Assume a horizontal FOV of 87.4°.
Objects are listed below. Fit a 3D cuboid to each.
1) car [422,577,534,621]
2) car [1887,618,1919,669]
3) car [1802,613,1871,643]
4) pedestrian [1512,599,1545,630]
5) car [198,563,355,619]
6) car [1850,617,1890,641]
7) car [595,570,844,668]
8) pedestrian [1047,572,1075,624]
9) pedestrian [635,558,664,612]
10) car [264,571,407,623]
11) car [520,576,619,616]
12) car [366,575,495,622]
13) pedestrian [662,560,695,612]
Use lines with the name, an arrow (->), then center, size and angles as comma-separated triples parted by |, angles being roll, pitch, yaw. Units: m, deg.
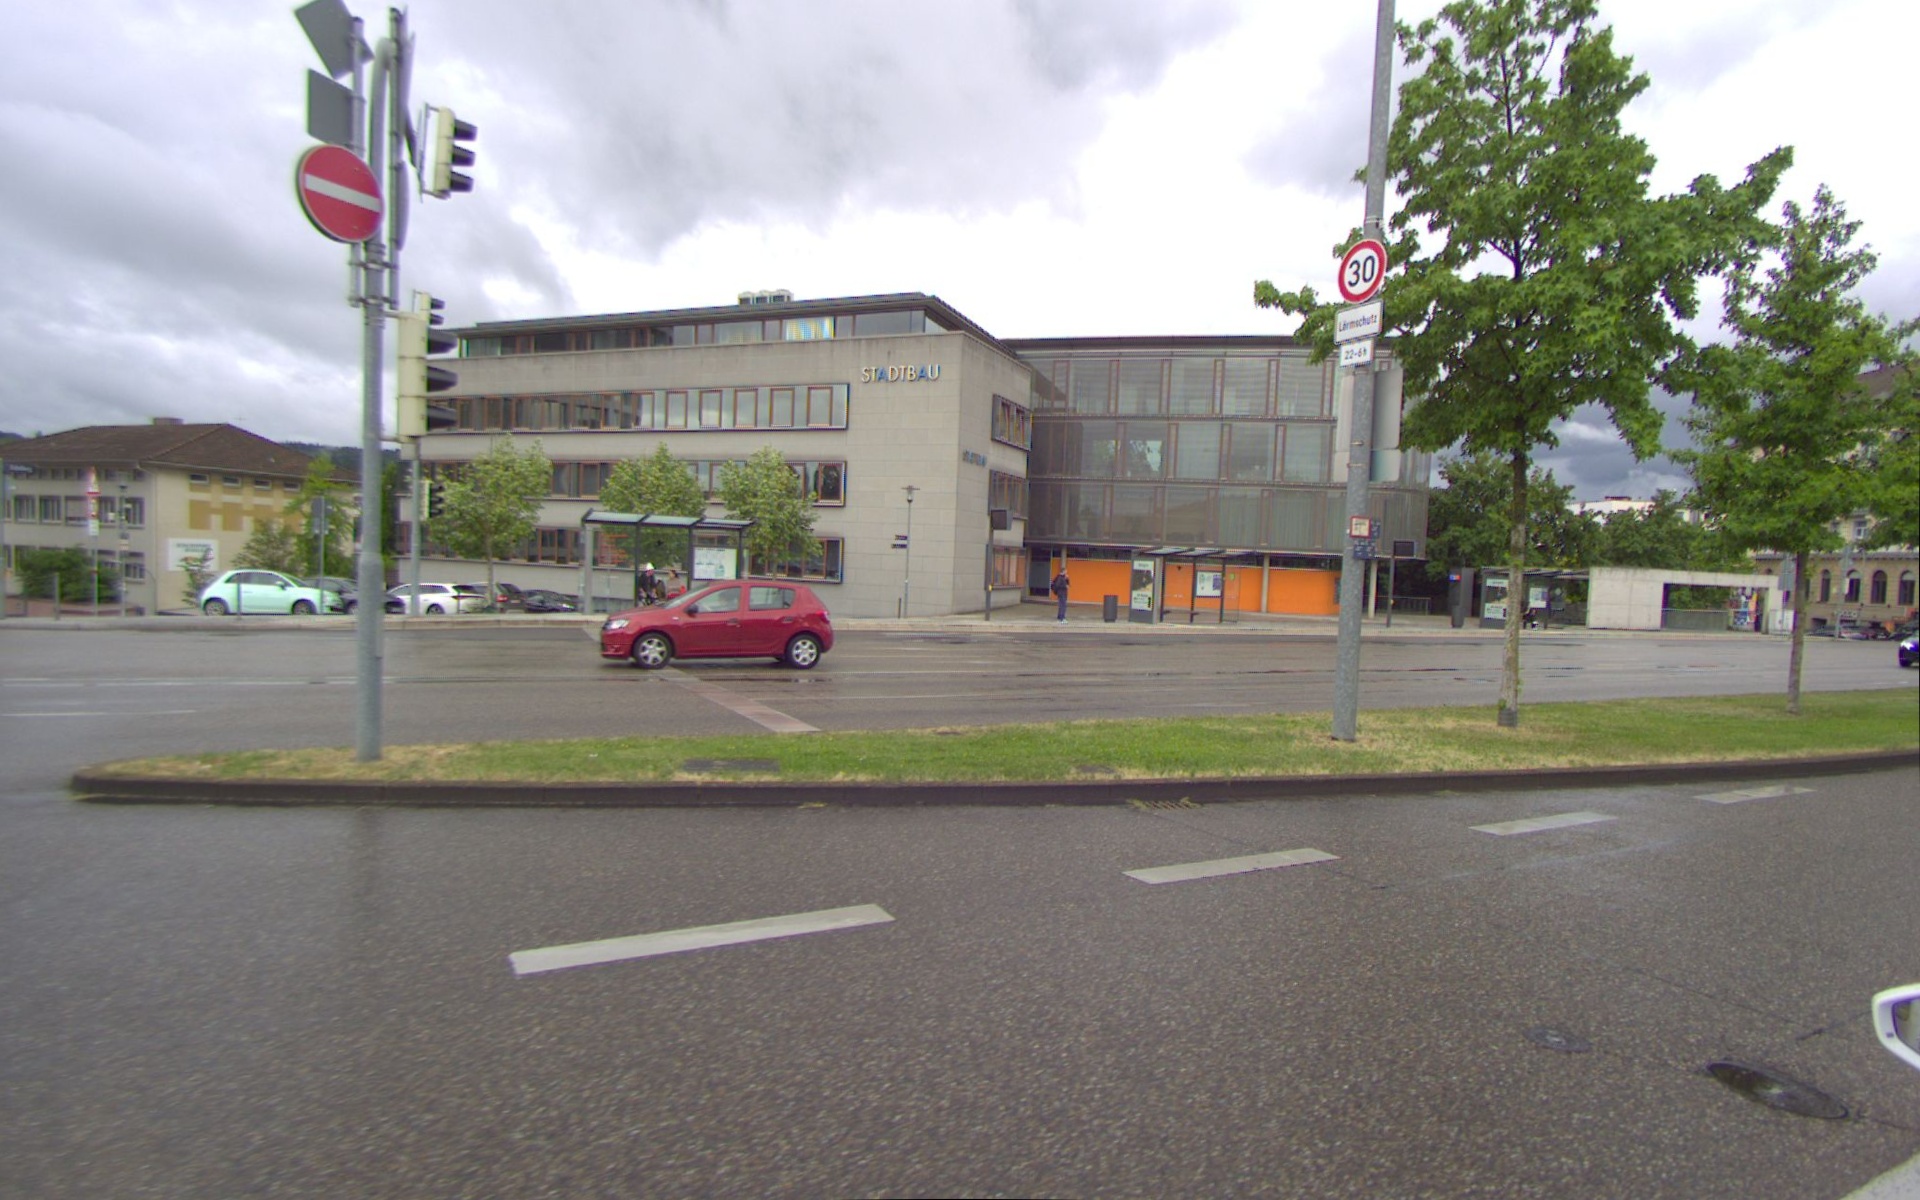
car -> -18.336, -0.054, 38.281 | 3.509, 1.515, 1.634 | 2, 1, 10
car -> 31.434, 1.410, 31.900 | 4.586, 1.548, 1.671 | 2, 1, -31
car -> 62.014, 1.971, 71.153 | 1.834, 1.706, 4.001 | 7, 3, 13
pedestrian -> 26.028, 0.655, 45.996 | 0.834, 1.285, 0.977 | 2, 5, -8
car -> -20.585, -0.276, 30.383 | 3.521, 1.515, 1.628 | 2, 1, -14
car -> 65.933, 2.082, 72.819 | 1.635, 1.626, 3.244 | -1, 0, 32
car -> -4.251, 0.340, 17.751 | 3.977, 1.573, 1.817 | 2, 1, -25
pedestrian -> 3.402, -0.073, 33.830 | 0.752, 1.706, 0.473 | 1, 1, -22
pedestrian -> -8.682, -0.427, 28.070 | 0.619, 1.488, 0.675 | 2, 1, -30
car -> -20.040, -0.089, 32.357 | 3.521, 1.515, 1.628 | 2, 1, -14
car -> -16.053, -0.170, 41.413 | 3.518, 1.515, 1.630 | 2, 1, -10
car -> -18.759, -0.065, 35.635 | 3.711, 1.515, 1.767 | 2, 1, 10
pedestrian -> -7.961, -0.395, 28.399 | 0.712, 1.411, 0.675 | 2, 1, -30
